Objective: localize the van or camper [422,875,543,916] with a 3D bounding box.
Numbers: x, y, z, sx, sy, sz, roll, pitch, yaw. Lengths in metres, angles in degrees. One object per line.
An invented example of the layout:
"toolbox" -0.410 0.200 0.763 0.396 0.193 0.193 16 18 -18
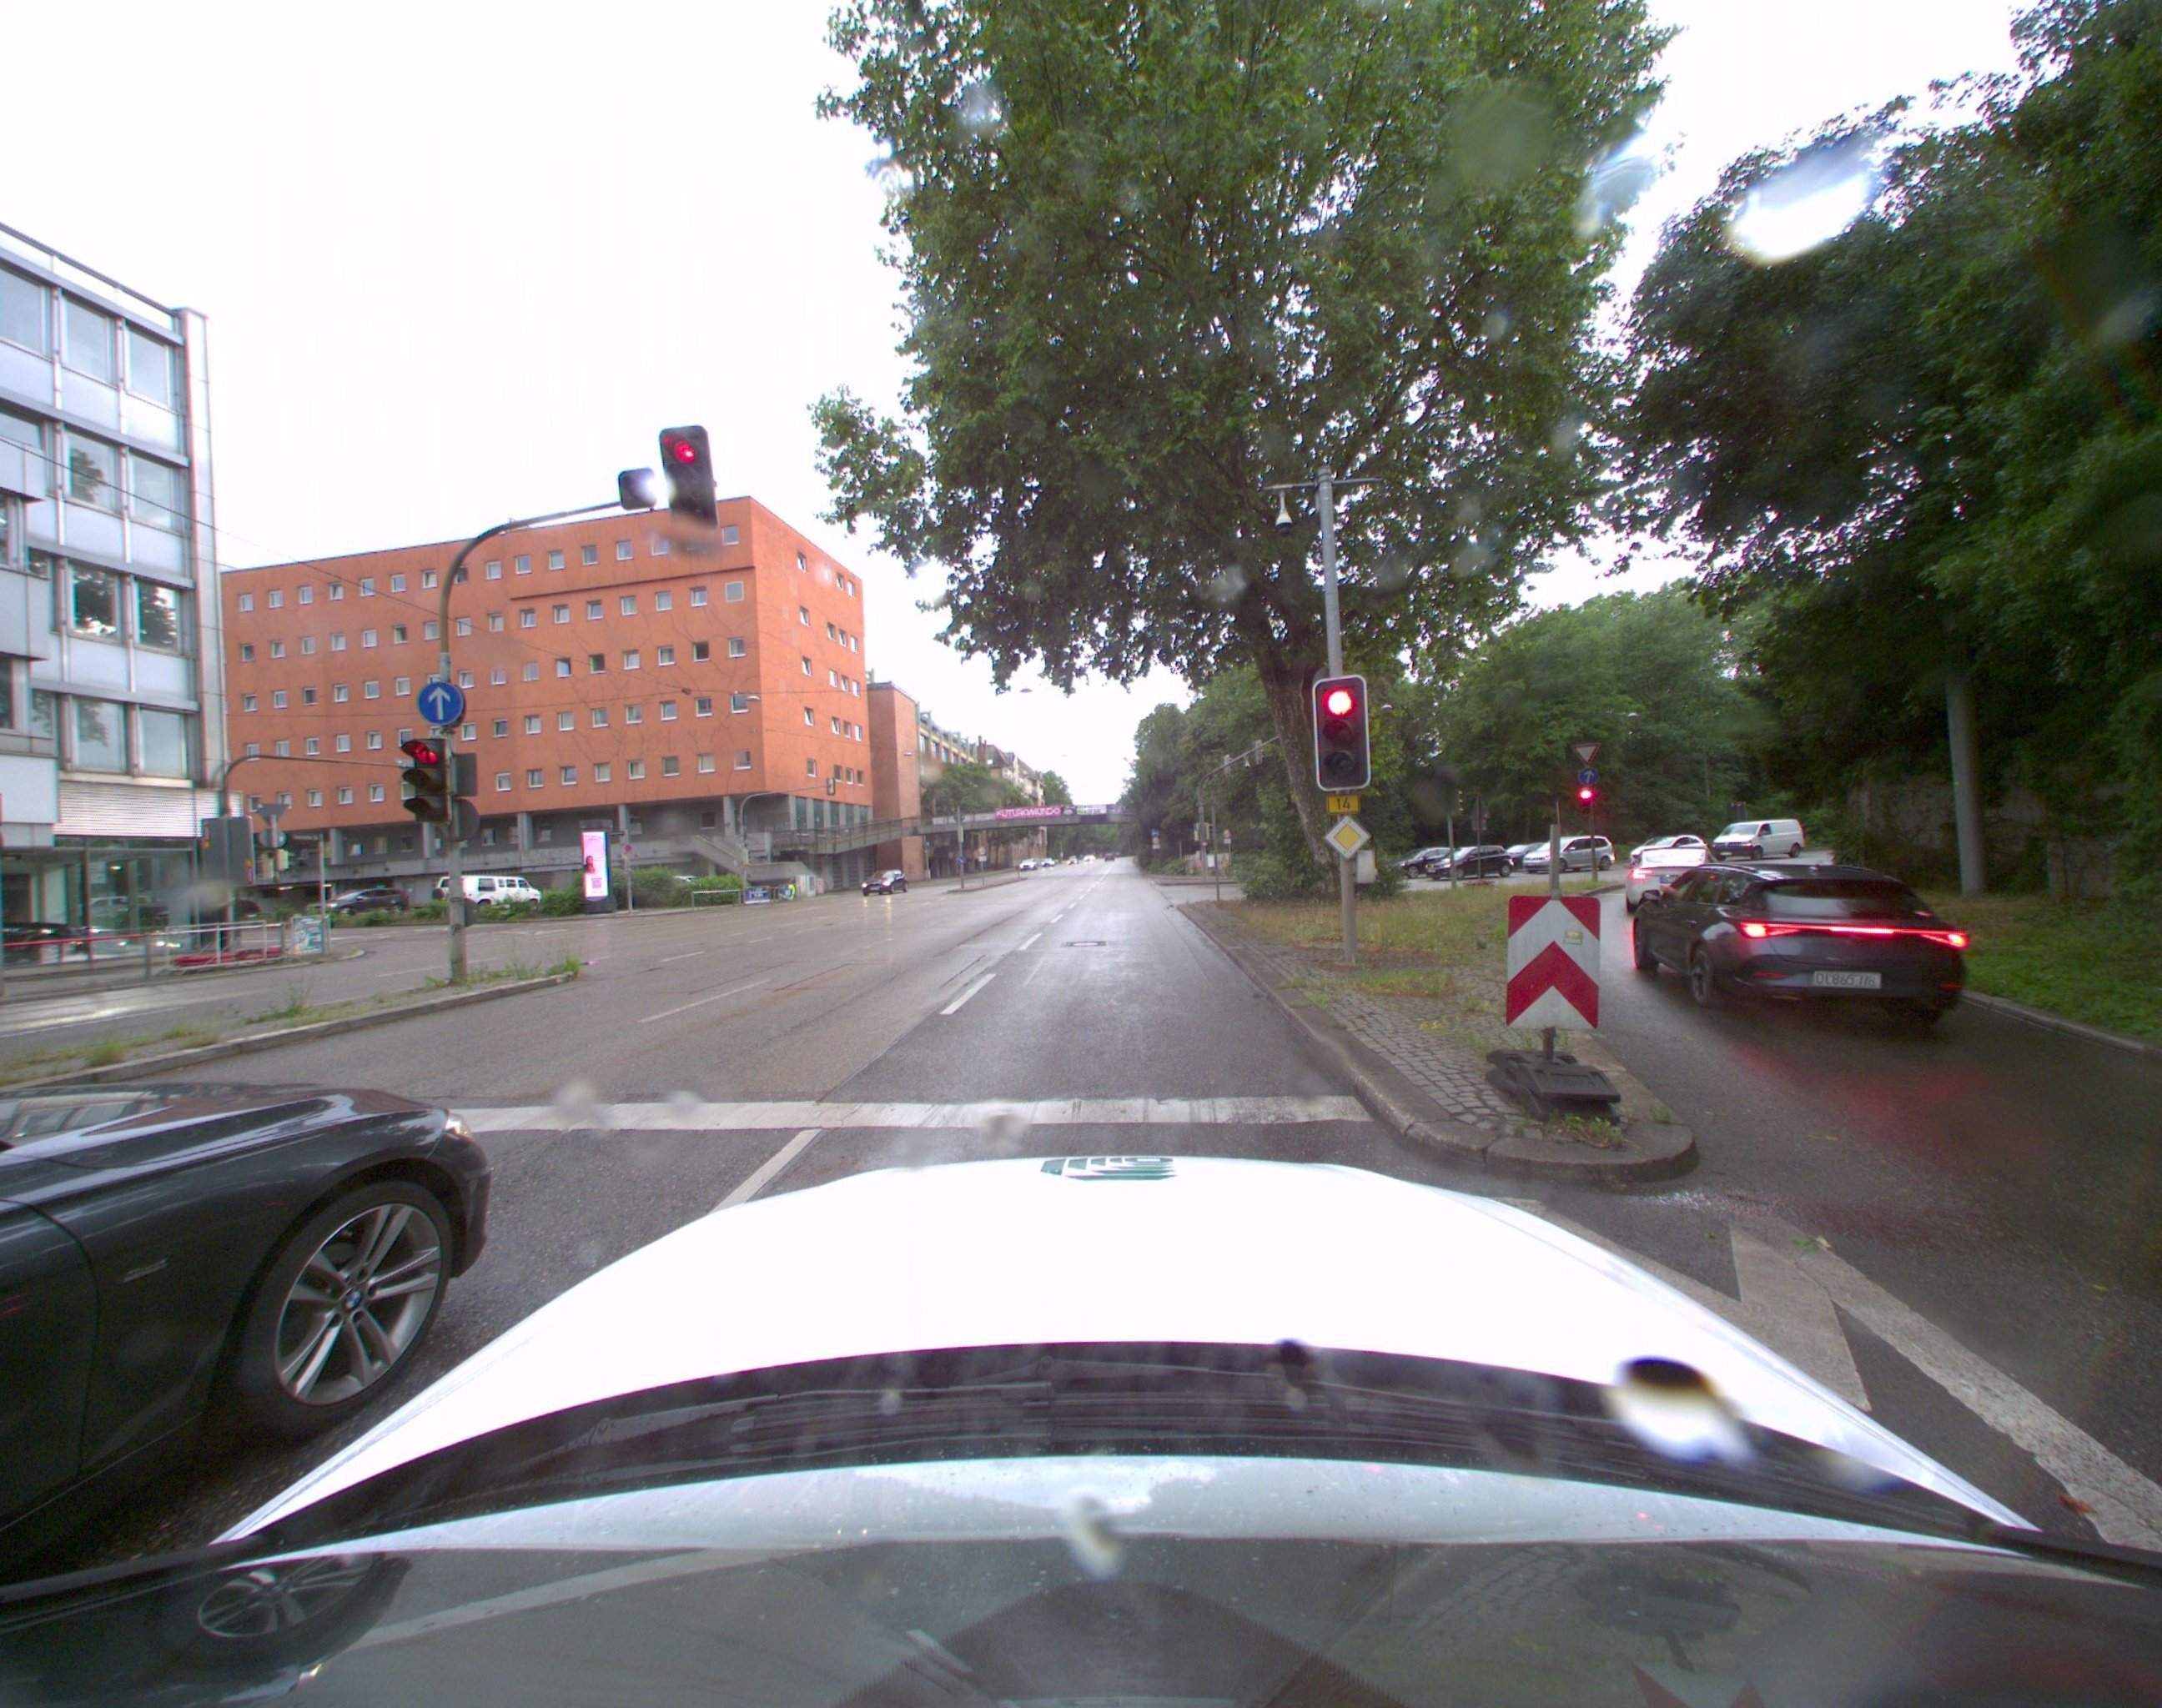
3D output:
"van or camper" -32.834 2.228 44.941 2.113 1.977 5.466 -1 -1 9

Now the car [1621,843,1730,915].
"car" 14.023 0.487 19.283 1.834 1.448 4.648 2 2 36

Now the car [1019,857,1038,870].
"car" -7.047 1.284 110.545 1.881 1.610 4.461 -3 -1 4

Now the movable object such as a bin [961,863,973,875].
"movable object such as a bin" -15.114 1.934 107.661 1.277 1.518 1.274 -3 0 3

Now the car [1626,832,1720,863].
"car" 28.841 -0.304 39.704 3.857 1.461 1.650 0 -1 -14

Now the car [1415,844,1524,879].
"car" 17.158 0.316 36.016 4.192 1.460 1.784 0 -1 -14

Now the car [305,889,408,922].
"car" -40.249 2.826 45.397 1.699 1.612 4.097 -1 -1 9

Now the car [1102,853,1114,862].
"car" 5.263 0.729 157.532 1.995 1.643 4.381 -3 0 5

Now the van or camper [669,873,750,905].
"van or camper" -22.259 2.079 48.876 3.965 1.627 1.918 -3 0 8

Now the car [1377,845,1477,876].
"car" 16.896 0.310 39.805 4.205 1.440 1.941 0 -1 -14

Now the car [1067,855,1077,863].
"car" -1.644 0.946 147.992 1.676 1.436 3.864 -3 -1 2

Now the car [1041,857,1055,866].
"car" -5.443 1.263 135.069 1.701 1.464 4.047 -3 -1 5

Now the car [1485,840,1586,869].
"car" 22.984 0.031 41.218 4.438 1.402 1.821 0 -1 -14

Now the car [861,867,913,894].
"car" -11.471 1.553 48.341 1.678 1.419 4.220 -4 -1 5

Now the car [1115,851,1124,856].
"car" 11.332 -0.071 238.817 1.844 1.453 3.759 0 -1 -13

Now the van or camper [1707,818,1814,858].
"van or camper" 34.676 -0.816 41.554 4.863 1.947 1.895 -1 -1 -18

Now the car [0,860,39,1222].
"car" -6.004 0.848 1.685 1.801 1.656 4.449 0 -1 4

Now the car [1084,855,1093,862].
"car" 1.712 1.063 182.994 1.823 1.393 4.409 -4 -1 3

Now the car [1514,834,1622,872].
"car" 22.607 -0.050 37.813 4.203 1.680 1.898 0 -1 -14

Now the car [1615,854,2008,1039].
"car" 7.283 0.727 8.757 1.733 1.403 4.437 1 1 22

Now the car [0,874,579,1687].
"car" -2.927 0.837 0.876 1.769 1.458 4.480 -3 -1 3

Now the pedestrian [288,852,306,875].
"pedestrian" -62.754 0.782 65.198 0.757 1.839 0.727 -1 -1 11
